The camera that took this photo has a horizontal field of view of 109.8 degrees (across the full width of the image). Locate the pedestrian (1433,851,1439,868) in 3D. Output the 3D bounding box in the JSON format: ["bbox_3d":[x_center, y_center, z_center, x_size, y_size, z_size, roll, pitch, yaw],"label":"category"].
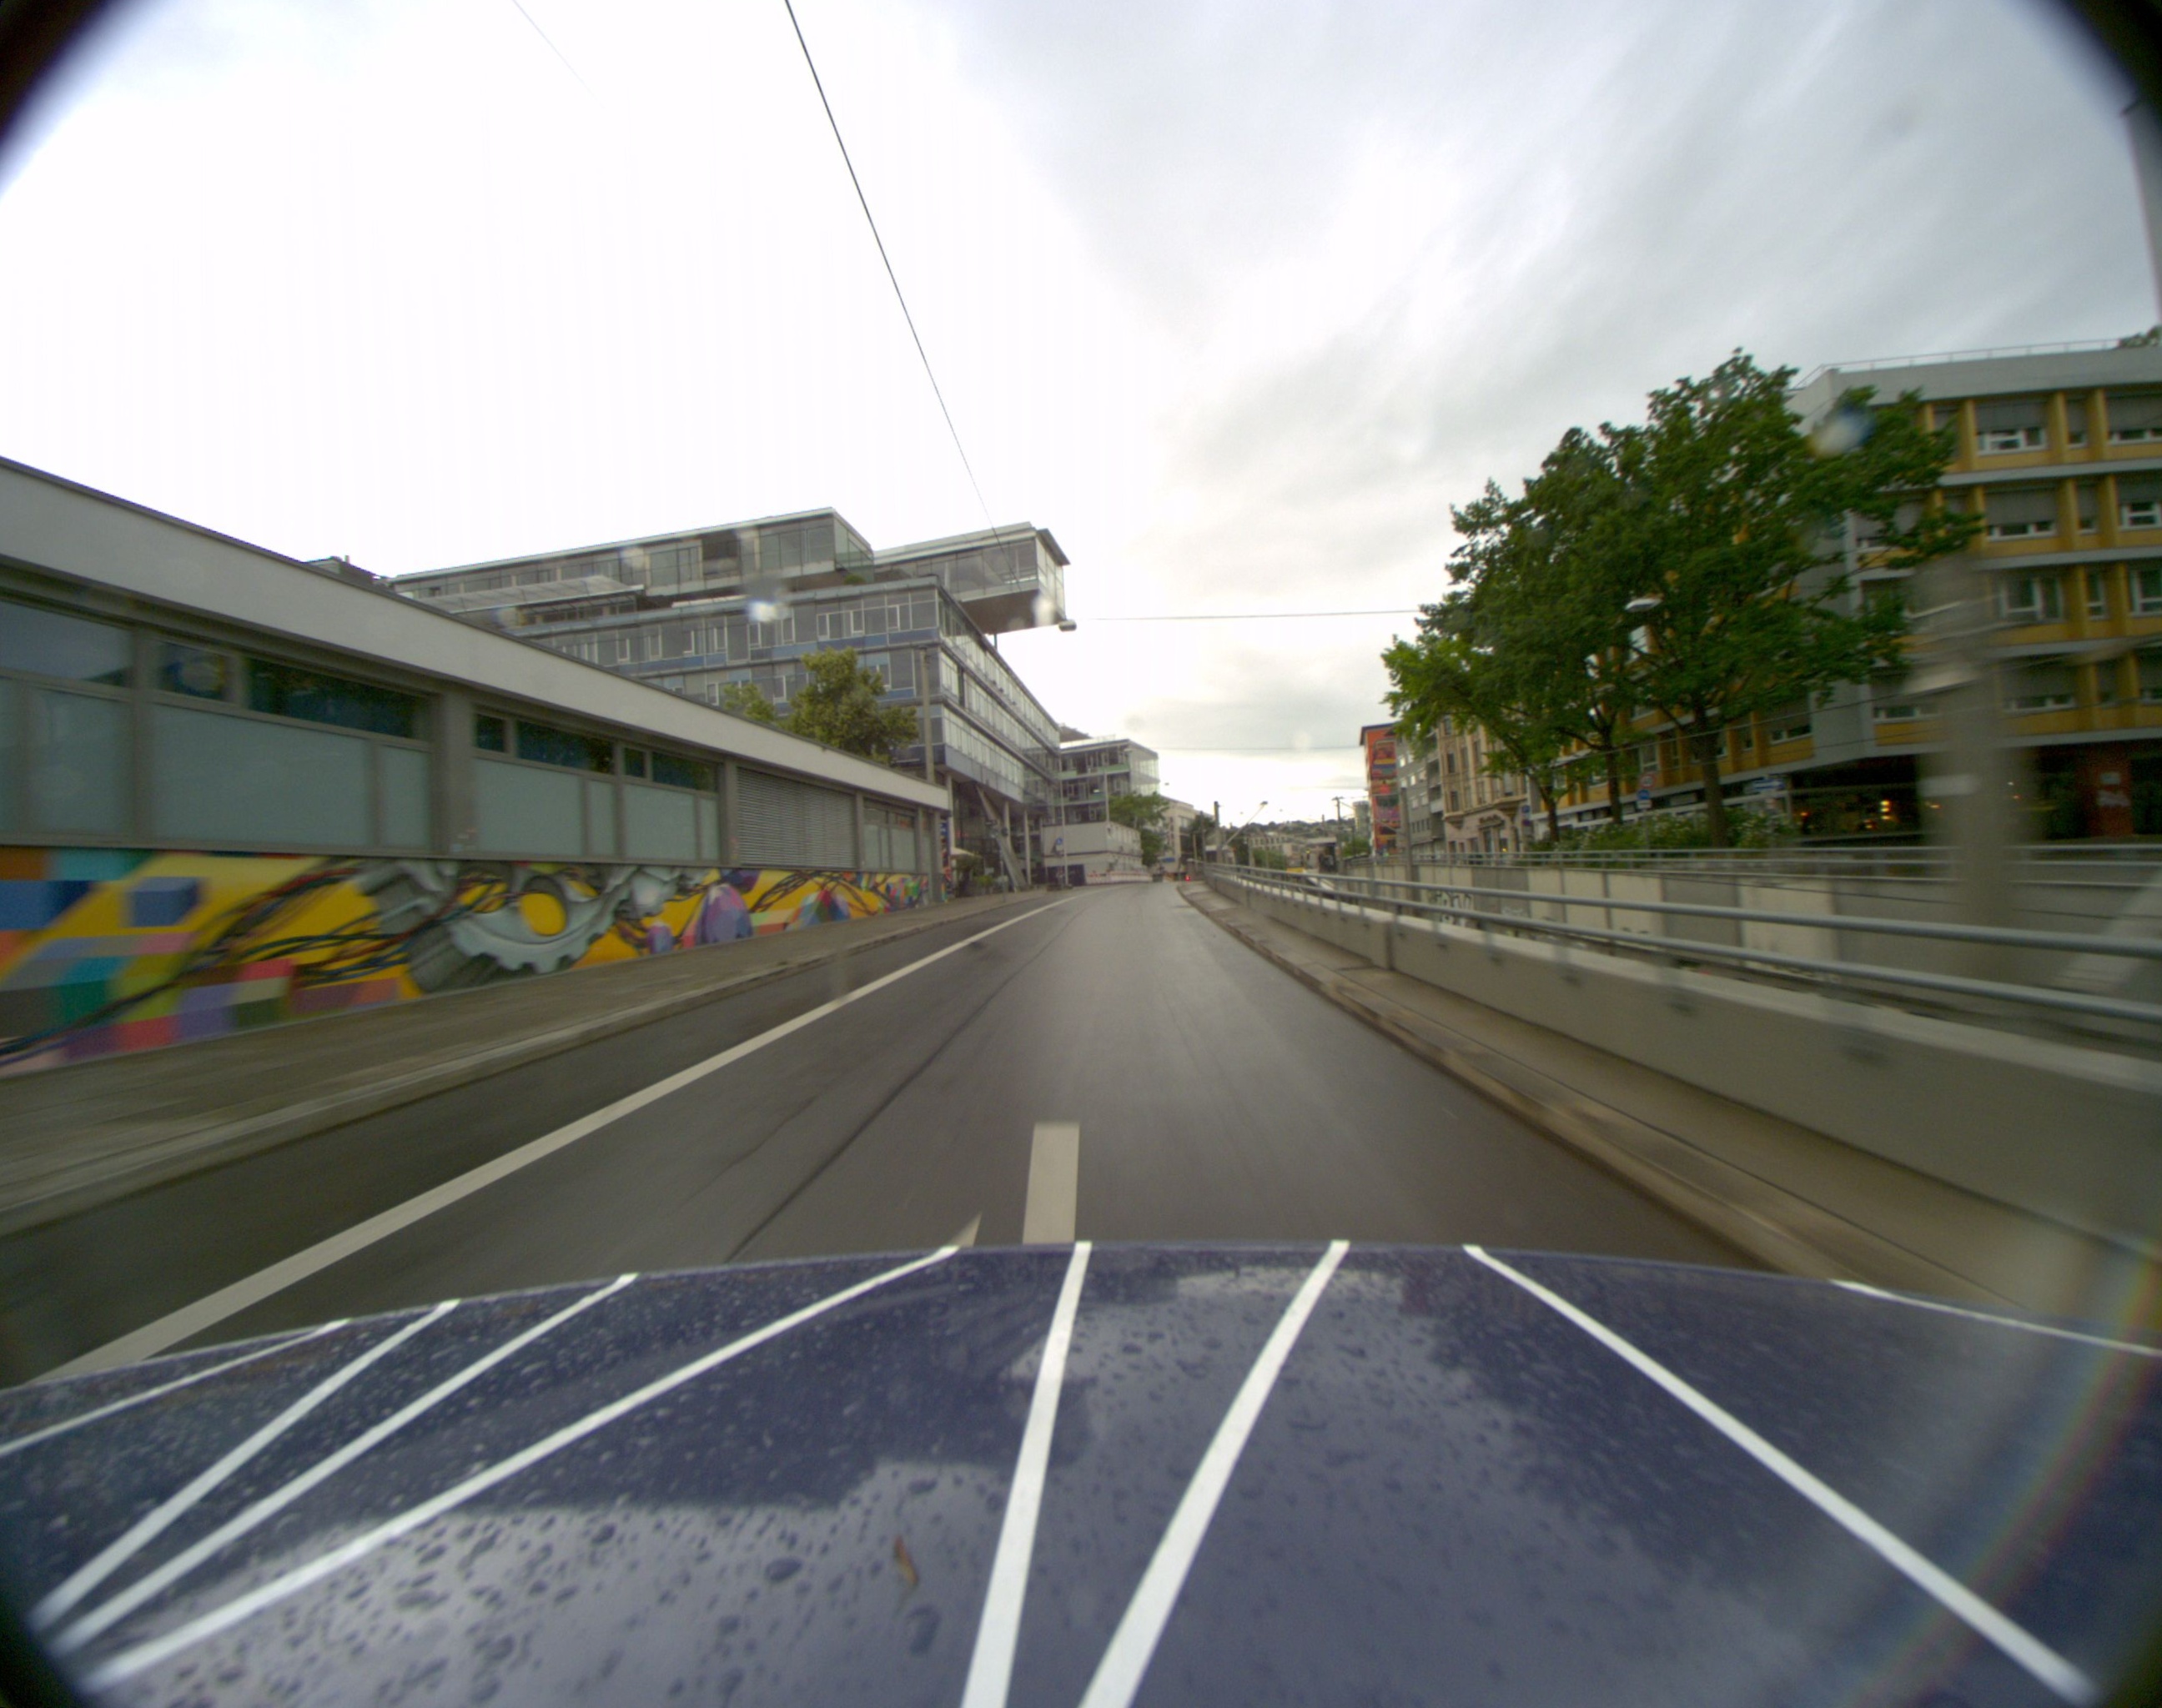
[{"bbox_3d":[36.426,0.580,78.013,0.422,1.671,0.609,-5,-3,26],"label":"pedestrian"}]

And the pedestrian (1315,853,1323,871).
[{"bbox_3d":[22.121,0.738,70.616,0.633,1.649,0.684,-4,-3,18],"label":"pedestrian"}]

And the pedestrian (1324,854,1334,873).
[{"bbox_3d":[21.858,0.814,66.982,0.772,1.639,0.779,2,0,19],"label":"pedestrian"}]

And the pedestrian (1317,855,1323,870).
[{"bbox_3d":[24.462,0.847,77.789,0.558,1.527,0.517,-4,-2,15],"label":"pedestrian"}]

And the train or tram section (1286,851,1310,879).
[{"bbox_3d":[32.192,1.719,112.300,2.782,3.667,9.732,-5,-5,18],"label":"train or tram section"}]

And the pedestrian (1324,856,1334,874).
[{"bbox_3d":[22.417,0.994,68.702,0.772,1.639,0.779,2,0,19],"label":"pedestrian"}]

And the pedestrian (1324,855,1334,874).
[{"bbox_3d":[22.113,0.911,67.786,0.772,1.639,0.779,2,0,19],"label":"pedestrian"}]

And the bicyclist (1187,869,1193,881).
[{"bbox_3d":[15.438,2.978,107.518,0.662,1.629,0.793,1,0,13],"label":"bicyclist"}]

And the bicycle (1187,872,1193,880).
[{"bbox_3d":[15.401,3.090,107.515,0.663,1.046,2.060,-3,-3,12],"label":"bicycle"}]

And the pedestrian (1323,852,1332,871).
[{"bbox_3d":[21.426,0.662,66.019,0.678,1.639,0.897,2,0,19],"label":"pedestrian"}]
